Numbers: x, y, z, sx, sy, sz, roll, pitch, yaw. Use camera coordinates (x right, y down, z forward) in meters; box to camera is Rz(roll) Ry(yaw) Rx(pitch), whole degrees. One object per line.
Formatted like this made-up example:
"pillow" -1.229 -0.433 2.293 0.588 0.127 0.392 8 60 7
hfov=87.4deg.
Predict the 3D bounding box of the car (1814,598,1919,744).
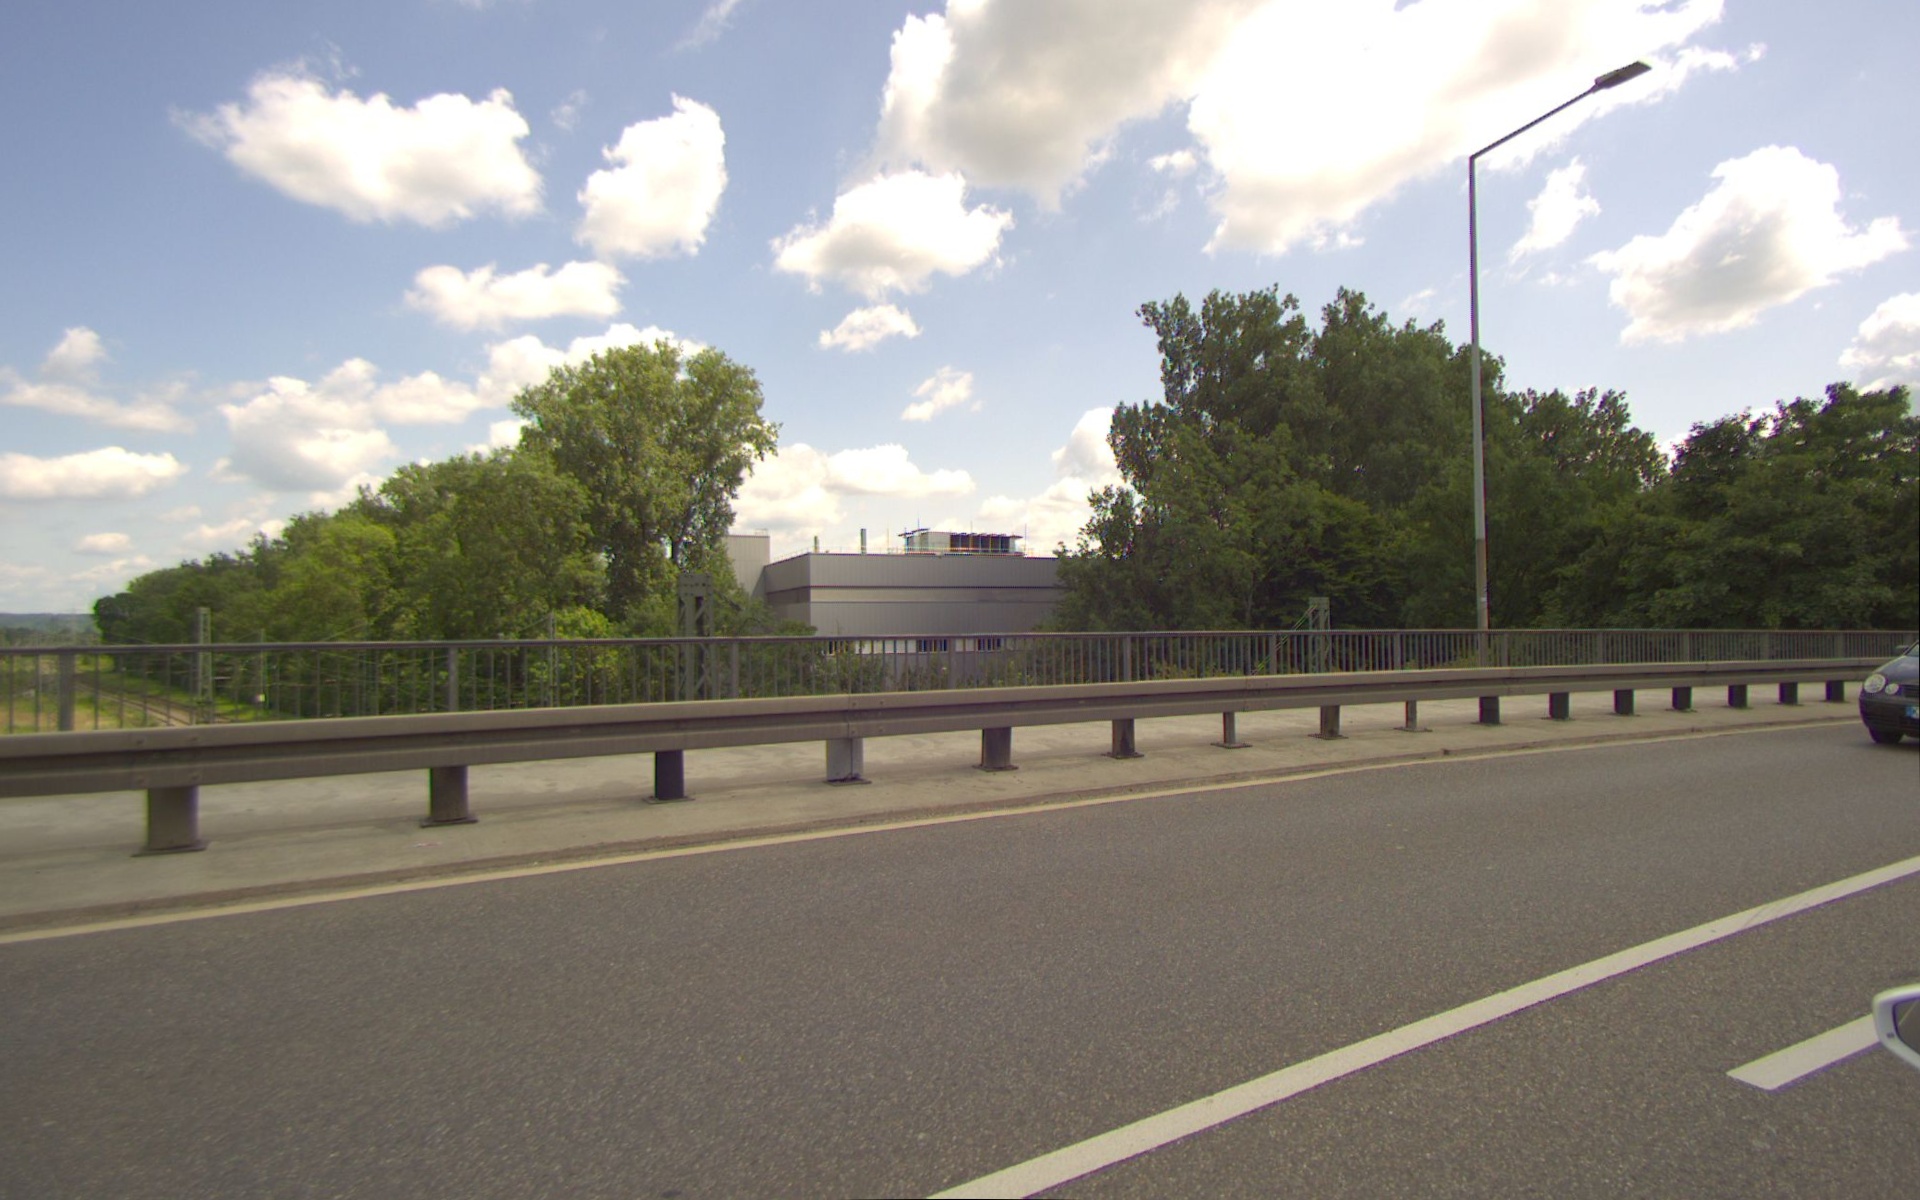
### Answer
"car" 11.492 0.745 11.032 3.874 1.471 1.808 1 1 -26
